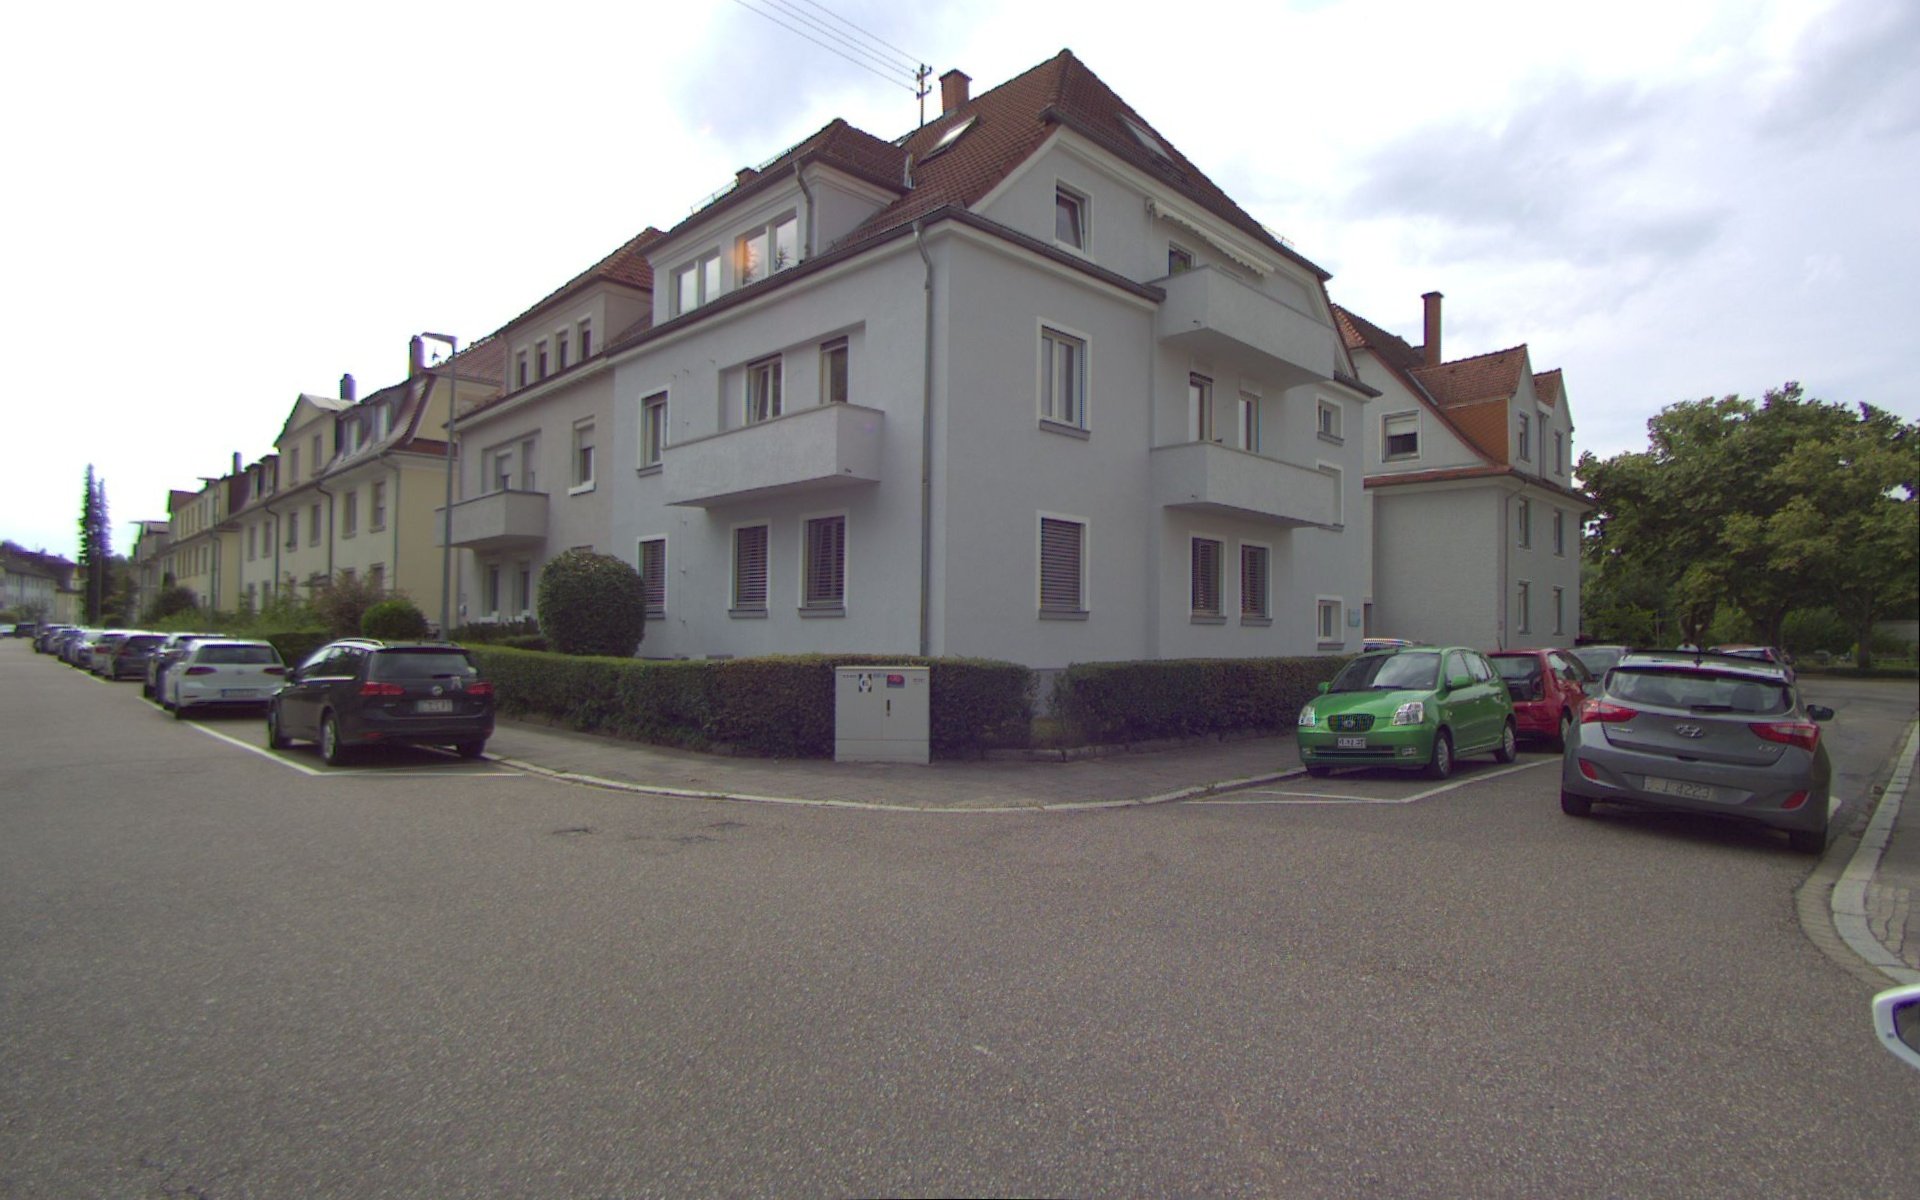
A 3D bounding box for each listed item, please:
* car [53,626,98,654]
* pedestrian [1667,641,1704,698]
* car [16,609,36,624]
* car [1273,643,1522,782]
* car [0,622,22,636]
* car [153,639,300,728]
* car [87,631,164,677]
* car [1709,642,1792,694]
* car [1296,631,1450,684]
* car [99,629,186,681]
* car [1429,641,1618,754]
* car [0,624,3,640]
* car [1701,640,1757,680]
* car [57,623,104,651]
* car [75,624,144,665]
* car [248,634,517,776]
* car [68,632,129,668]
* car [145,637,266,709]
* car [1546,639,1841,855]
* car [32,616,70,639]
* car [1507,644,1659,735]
[{"bbox_3d":[-52.973,2.375,60.139,1.847,1.598,4.122,2,-2,-43],"label":"car"},{"bbox_3d":[25.082,2.377,34.728,1.072,1.903,0.872,2,-2,-44],"label":"pedestrian"},{"bbox_3d":[-138.810,2.467,149.346,1.985,2.151,3.953,2,-2,-41],"label":"car"},{"bbox_3d":[5.406,1.282,12.232,1.629,1.440,3.460,-5,-6,44],"label":"car"},{"bbox_3d":[-111.100,3.368,117.122,1.981,1.557,3.960,0,-1,-36],"label":"car"},{"bbox_3d":[-14.519,1.554,19.795,1.847,1.491,4.122,2,-2,-43],"label":"car"},{"bbox_3d":[-29.545,1.858,35.518,1.847,1.491,4.122,2,-2,-43],"label":"car"},{"bbox_3d":[24.731,2.118,31.393,1.629,1.515,3.460,-5,-6,44],"label":"car"},{"bbox_3d":[12.642,1.726,30.857,1.987,1.483,3.948,3,-3,-44],"label":"car"},{"bbox_3d":[-25.885,1.686,31.773,1.847,1.491,4.122,2,-2,-43],"label":"car"},{"bbox_3d":[8.669,1.432,15.356,1.629,1.515,3.460,-5,-6,44],"label":"car"},{"bbox_3d":[-102.736,3.412,106.234,1.985,1.661,3.953,2,-2,-41],"label":"car"},{"bbox_3d":[30.957,2.410,40.398,1.626,1.515,3.467,-5,-5,38],"label":"car"},{"bbox_3d":[-49.356,2.065,56.342,1.847,1.491,4.122,2,-2,-43],"label":"car"},{"bbox_3d":[-33.461,1.726,39.477,1.847,1.491,4.122,2,-2,-43],"label":"car"},{"bbox_3d":[-7.574,1.216,13.015,4.116,1.491,1.850,-1,-2,42],"label":"car"},{"bbox_3d":[-37.951,2.170,44.203,1.847,1.491,4.122,2,-2,-43],"label":"car"},{"bbox_3d":[-17.777,1.643,23.596,1.847,1.491,4.122,2,-2,-43],"label":"car"},{"bbox_3d":[6.775,1.135,9.317,1.825,1.500,4.026,0,-2,38],"label":"car"},{"bbox_3d":[-66.482,2.016,73.441,1.848,1.598,4.120,2,-2,-44],"label":"car"},{"bbox_3d":[11.557,1.600,18.545,1.629,1.515,3.460,-5,-6,44],"label":"car"}]
